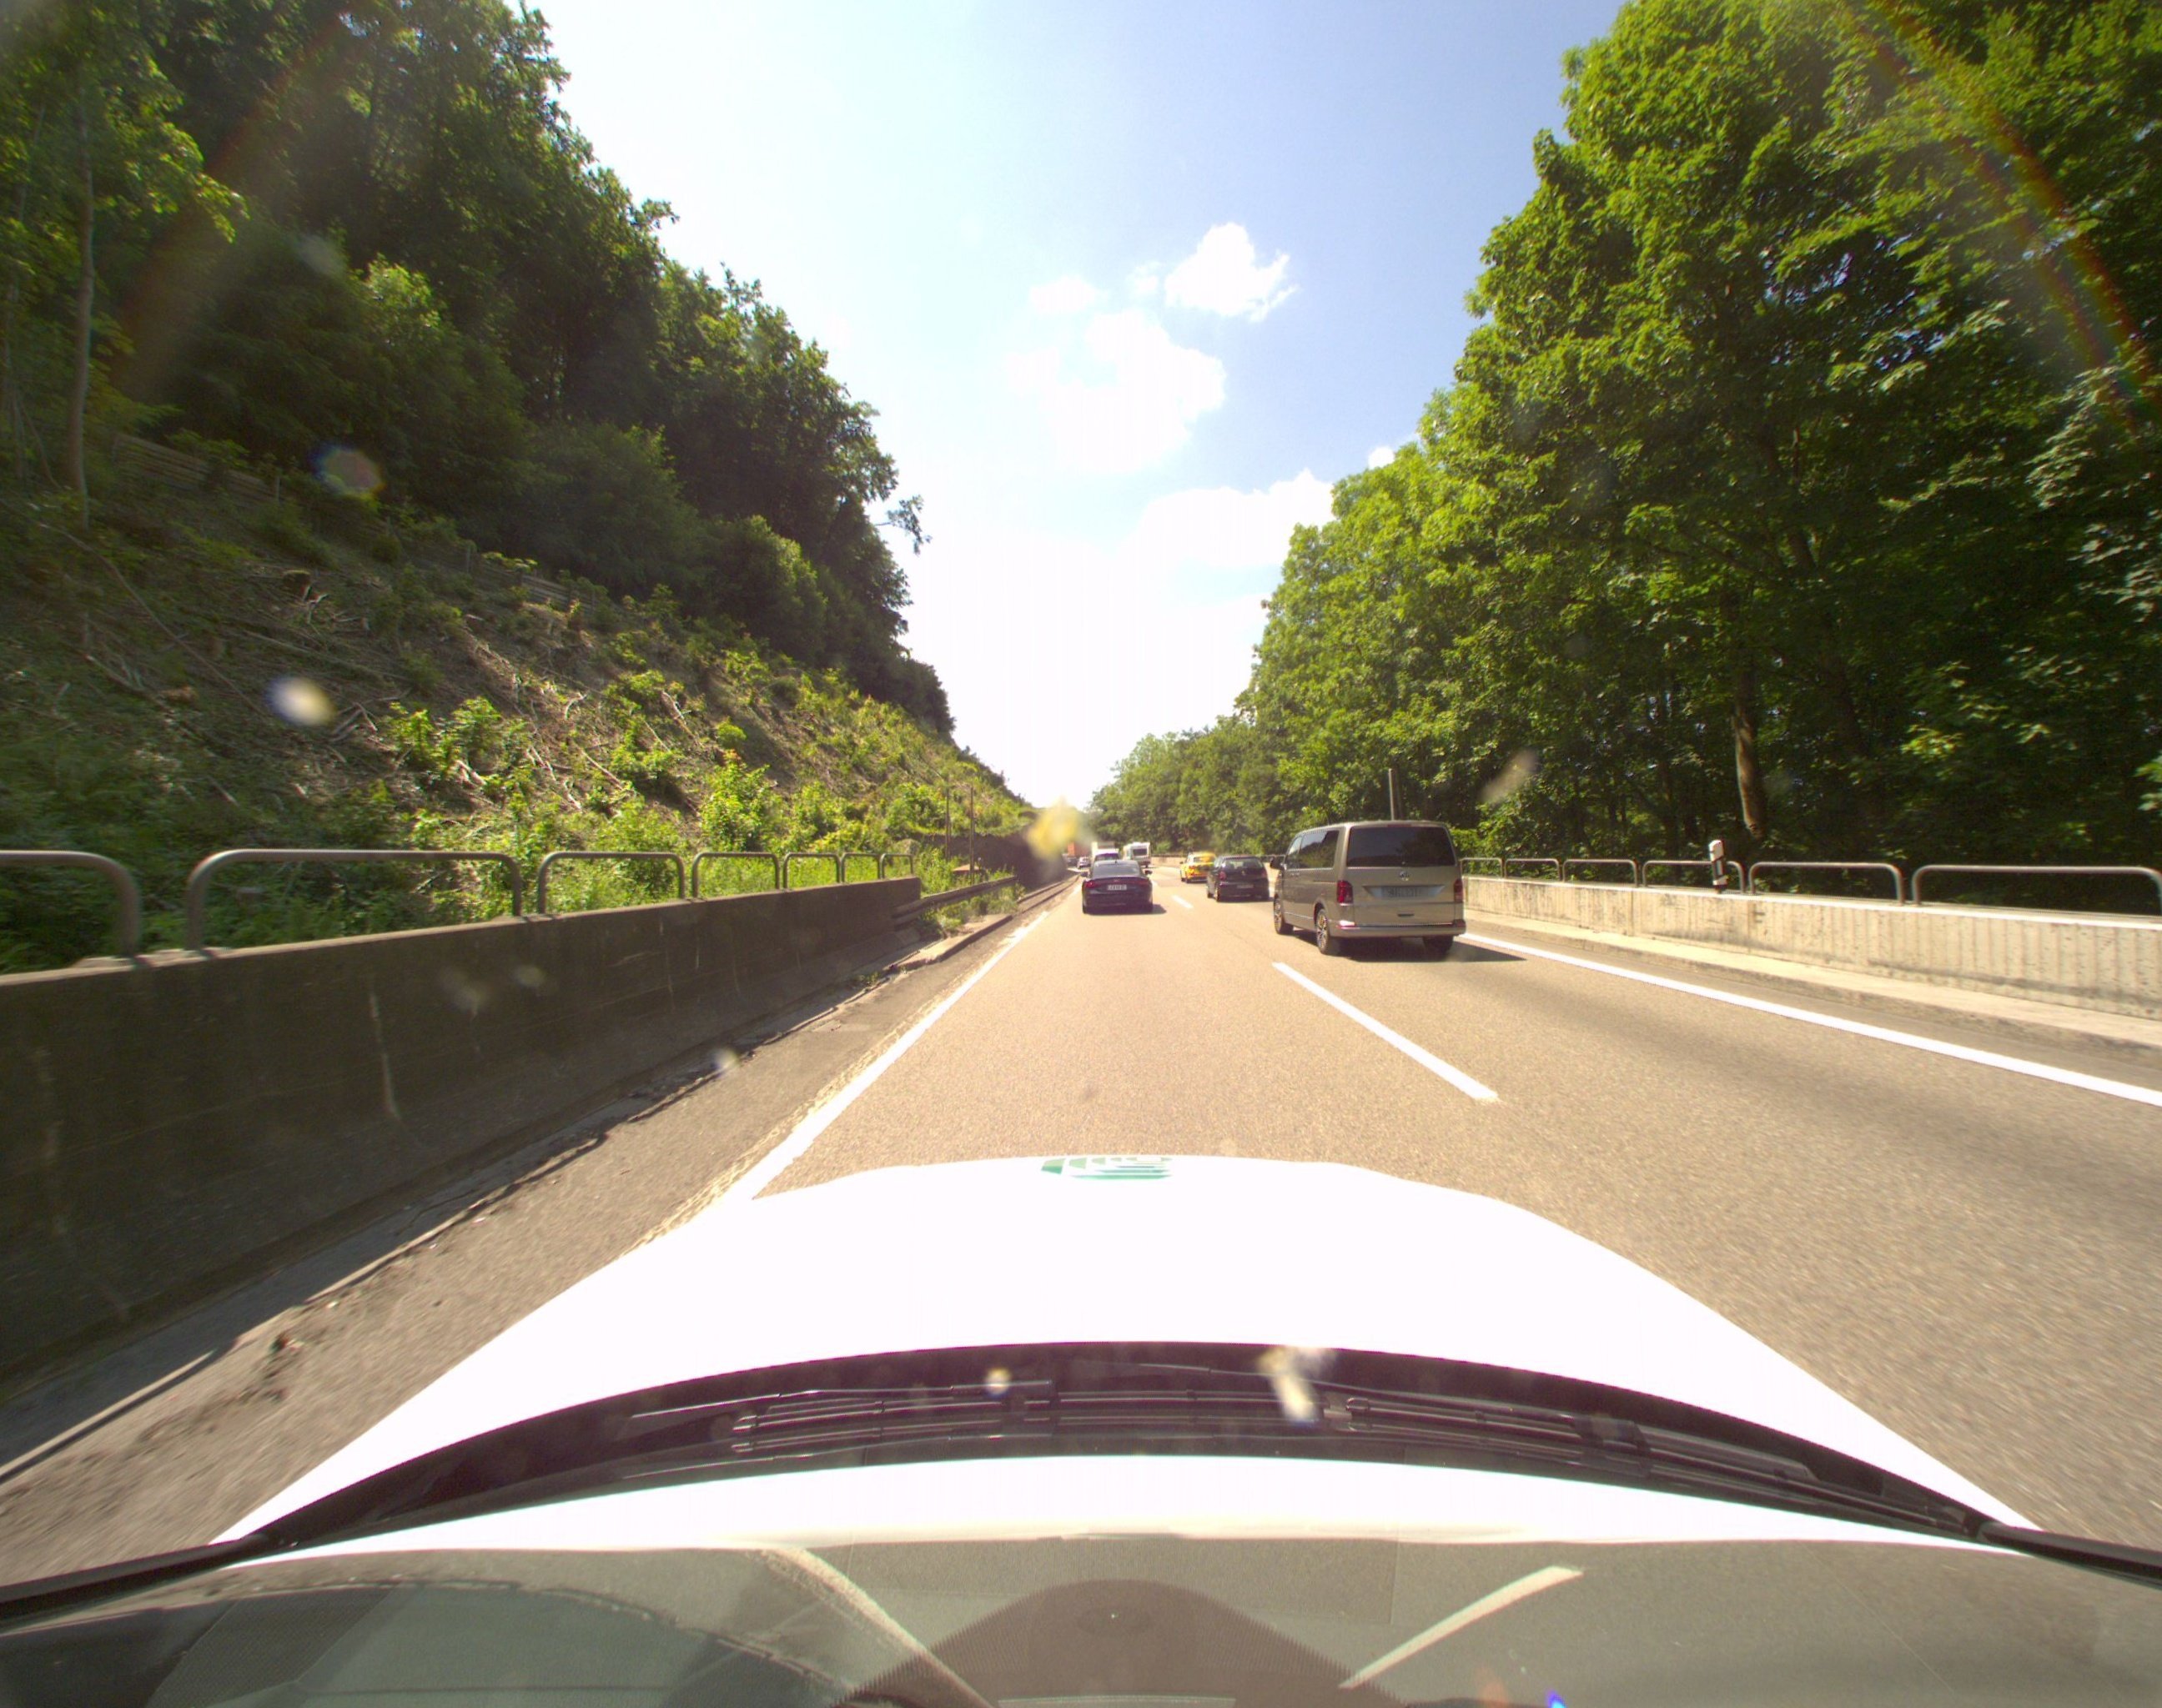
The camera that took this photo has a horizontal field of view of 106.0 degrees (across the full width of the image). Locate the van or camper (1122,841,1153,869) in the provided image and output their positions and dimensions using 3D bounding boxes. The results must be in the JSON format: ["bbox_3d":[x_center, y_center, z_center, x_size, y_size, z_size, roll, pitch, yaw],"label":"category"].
[{"bbox_3d":[5.979,0.063,86.579,2.597,2.855,6.330,0,0,-2],"label":"van or camper"}]

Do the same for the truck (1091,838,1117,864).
[{"bbox_3d":[3.377,-0.443,122.481,2.921,3.687,7.708,1,0,-6],"label":"truck"}]

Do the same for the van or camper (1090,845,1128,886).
[{"bbox_3d":[1.432,0.550,41.050,1.846,1.942,4.168,0,0,2],"label":"van or camper"}]

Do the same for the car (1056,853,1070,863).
[{"bbox_3d":[-2.951,0.636,131.865,1.751,1.571,3.758,0,0,-10],"label":"car"}]

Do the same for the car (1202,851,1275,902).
[{"bbox_3d":[4.970,0.657,26.170,1.678,1.458,4.002,-2,0,2],"label":"car"}]

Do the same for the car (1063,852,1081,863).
[{"bbox_3d":[-1.323,0.471,117.127,1.753,1.571,3.755,-1,0,-13],"label":"car"}]

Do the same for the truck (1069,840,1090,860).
[{"bbox_3d":[-0.295,-0.758,145.141,3.157,3.468,8.210,1,0,-4],"label":"truck"}]

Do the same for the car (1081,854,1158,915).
[{"bbox_3d":[0.987,0.766,22.797,1.899,1.489,4.378,-1,0,0],"label":"car"}]

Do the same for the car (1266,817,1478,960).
[{"bbox_3d":[4.493,0.459,13.432,1.933,1.931,4.696,0,0,2],"label":"car"}]

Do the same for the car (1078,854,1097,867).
[{"bbox_3d":[0.832,0.822,102.922,1.991,1.618,3.992,0,0,-6],"label":"car"}]

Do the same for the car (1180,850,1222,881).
[{"bbox_3d":[6.111,0.563,41.769,1.800,1.477,4.086,0,0,4],"label":"car"}]
